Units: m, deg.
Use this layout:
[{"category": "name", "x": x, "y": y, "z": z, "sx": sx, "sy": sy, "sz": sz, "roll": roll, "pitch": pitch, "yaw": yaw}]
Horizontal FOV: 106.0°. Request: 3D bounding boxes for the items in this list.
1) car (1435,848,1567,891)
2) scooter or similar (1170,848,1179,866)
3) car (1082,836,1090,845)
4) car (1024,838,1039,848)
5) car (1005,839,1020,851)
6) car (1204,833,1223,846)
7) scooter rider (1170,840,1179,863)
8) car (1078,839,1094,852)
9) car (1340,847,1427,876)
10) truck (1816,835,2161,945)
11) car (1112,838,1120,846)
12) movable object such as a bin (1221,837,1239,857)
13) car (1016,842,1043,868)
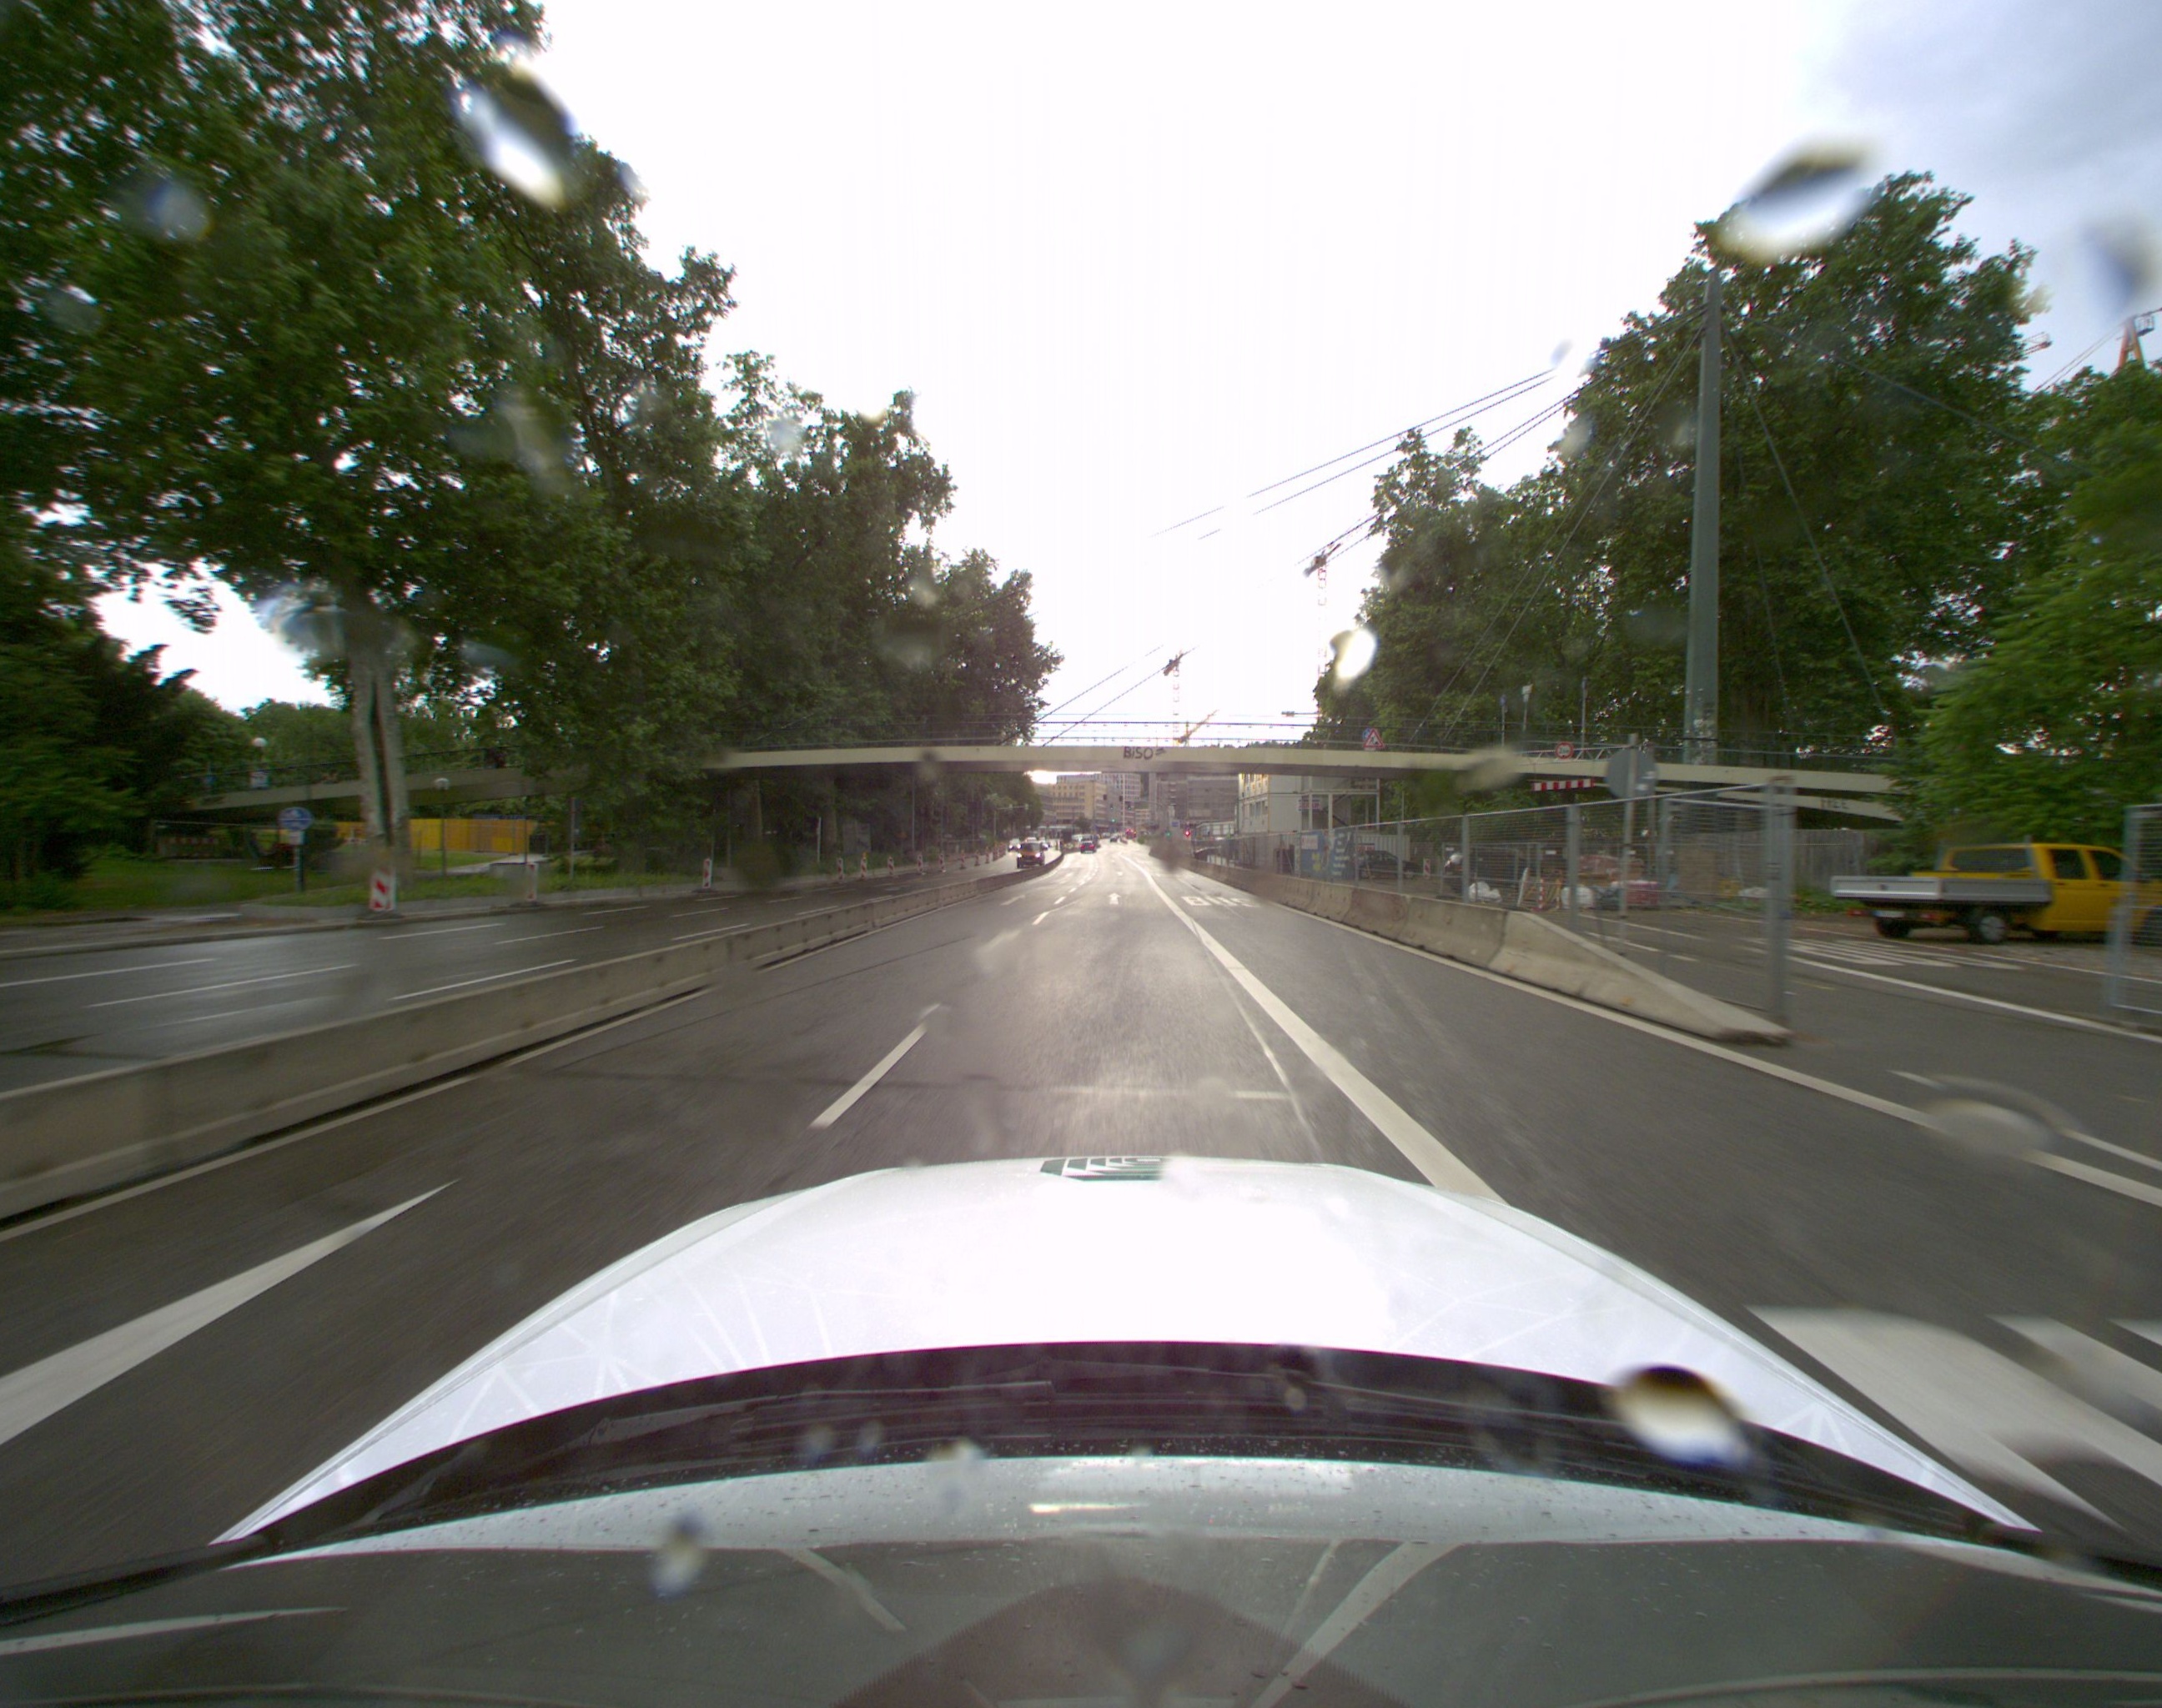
[{"category": "car", "x": 17.295, "y": 0.624, "z": 33.690, "sx": 4.489, "sy": 1.728, "sz": 1.998, "roll": 0, "pitch": 0, "yaw": -4}, {"category": "scooter or similar", "x": 7.089, "y": 0.221, "z": 61.944, "sx": 0.594, "sy": 1.319, "sz": 1.669, "roll": 0, "pitch": 1, "yaw": 4}, {"category": "car", "x": 1.223, "y": -3.260, "z": 203.252, "sx": 1.896, "sy": 2.082, "sz": 4.175, "roll": -2, "pitch": -1, "yaw": -1}, {"category": "car", "x": -8.566, "y": -1.886, "z": 141.096, "sx": 2.024, "sy": 1.653, "sz": 4.912, "roll": -2, "pitch": 1, "yaw": 1}, {"category": "car", "x": -9.921, "y": -1.367, "z": 118.085, "sx": 2.028, "sy": 1.653, "sz": 4.310, "roll": -1, "pitch": 2, "yaw": -7}, {"category": "car", "x": 21.039, "y": -2.302, "z": 129.756, "sx": 1.908, "sy": 1.975, "sz": 5.157, "roll": 0, "pitch": 1, "yaw": -4}, {"category": "scooter rider", "x": 7.090, "y": -0.195, "z": 61.884, "sx": 0.594, "sy": 1.785, "sz": 0.998, "roll": 0, "pitch": 1, "yaw": 4}, {"category": "car", "x": 0.572, "y": -1.050, "z": 103.903, "sx": 1.896, "sy": 1.528, "sz": 4.175, "roll": -2, "pitch": -1, "yaw": -1}, {"category": "car", "x": 17.866, "y": 0.411, "z": 48.192, "sx": 4.528, "sy": 1.628, "sz": 1.788, "roll": 0, "pitch": 2, "yaw": -1}, {"category": "truck", "x": 18.287, "y": 0.663, "z": 16.333, "sx": 5.145, "sy": 2.014, "sz": 2.405, "roll": 0, "pitch": -1, "yaw": -5}, {"category": "car", "x": 8.839, "y": -3.055, "z": 205.869, "sx": 1.985, "sy": 2.014, "sz": 4.003, "roll": -2, "pitch": -1, "yaw": 3}, {"category": "movable object such as a bin", "x": 16.917, "y": -0.806, "z": 92.436, "sx": 1.462, "sy": 2.202, "sz": 1.256, "roll": -1, "pitch": 3, "yaw": -22}, {"category": "car", "x": -4.107, "y": 0.133, "z": 65.305, "sx": 2.027, "sy": 1.936, "sz": 5.037, "roll": -2, "pitch": -1, "yaw": -4}]
